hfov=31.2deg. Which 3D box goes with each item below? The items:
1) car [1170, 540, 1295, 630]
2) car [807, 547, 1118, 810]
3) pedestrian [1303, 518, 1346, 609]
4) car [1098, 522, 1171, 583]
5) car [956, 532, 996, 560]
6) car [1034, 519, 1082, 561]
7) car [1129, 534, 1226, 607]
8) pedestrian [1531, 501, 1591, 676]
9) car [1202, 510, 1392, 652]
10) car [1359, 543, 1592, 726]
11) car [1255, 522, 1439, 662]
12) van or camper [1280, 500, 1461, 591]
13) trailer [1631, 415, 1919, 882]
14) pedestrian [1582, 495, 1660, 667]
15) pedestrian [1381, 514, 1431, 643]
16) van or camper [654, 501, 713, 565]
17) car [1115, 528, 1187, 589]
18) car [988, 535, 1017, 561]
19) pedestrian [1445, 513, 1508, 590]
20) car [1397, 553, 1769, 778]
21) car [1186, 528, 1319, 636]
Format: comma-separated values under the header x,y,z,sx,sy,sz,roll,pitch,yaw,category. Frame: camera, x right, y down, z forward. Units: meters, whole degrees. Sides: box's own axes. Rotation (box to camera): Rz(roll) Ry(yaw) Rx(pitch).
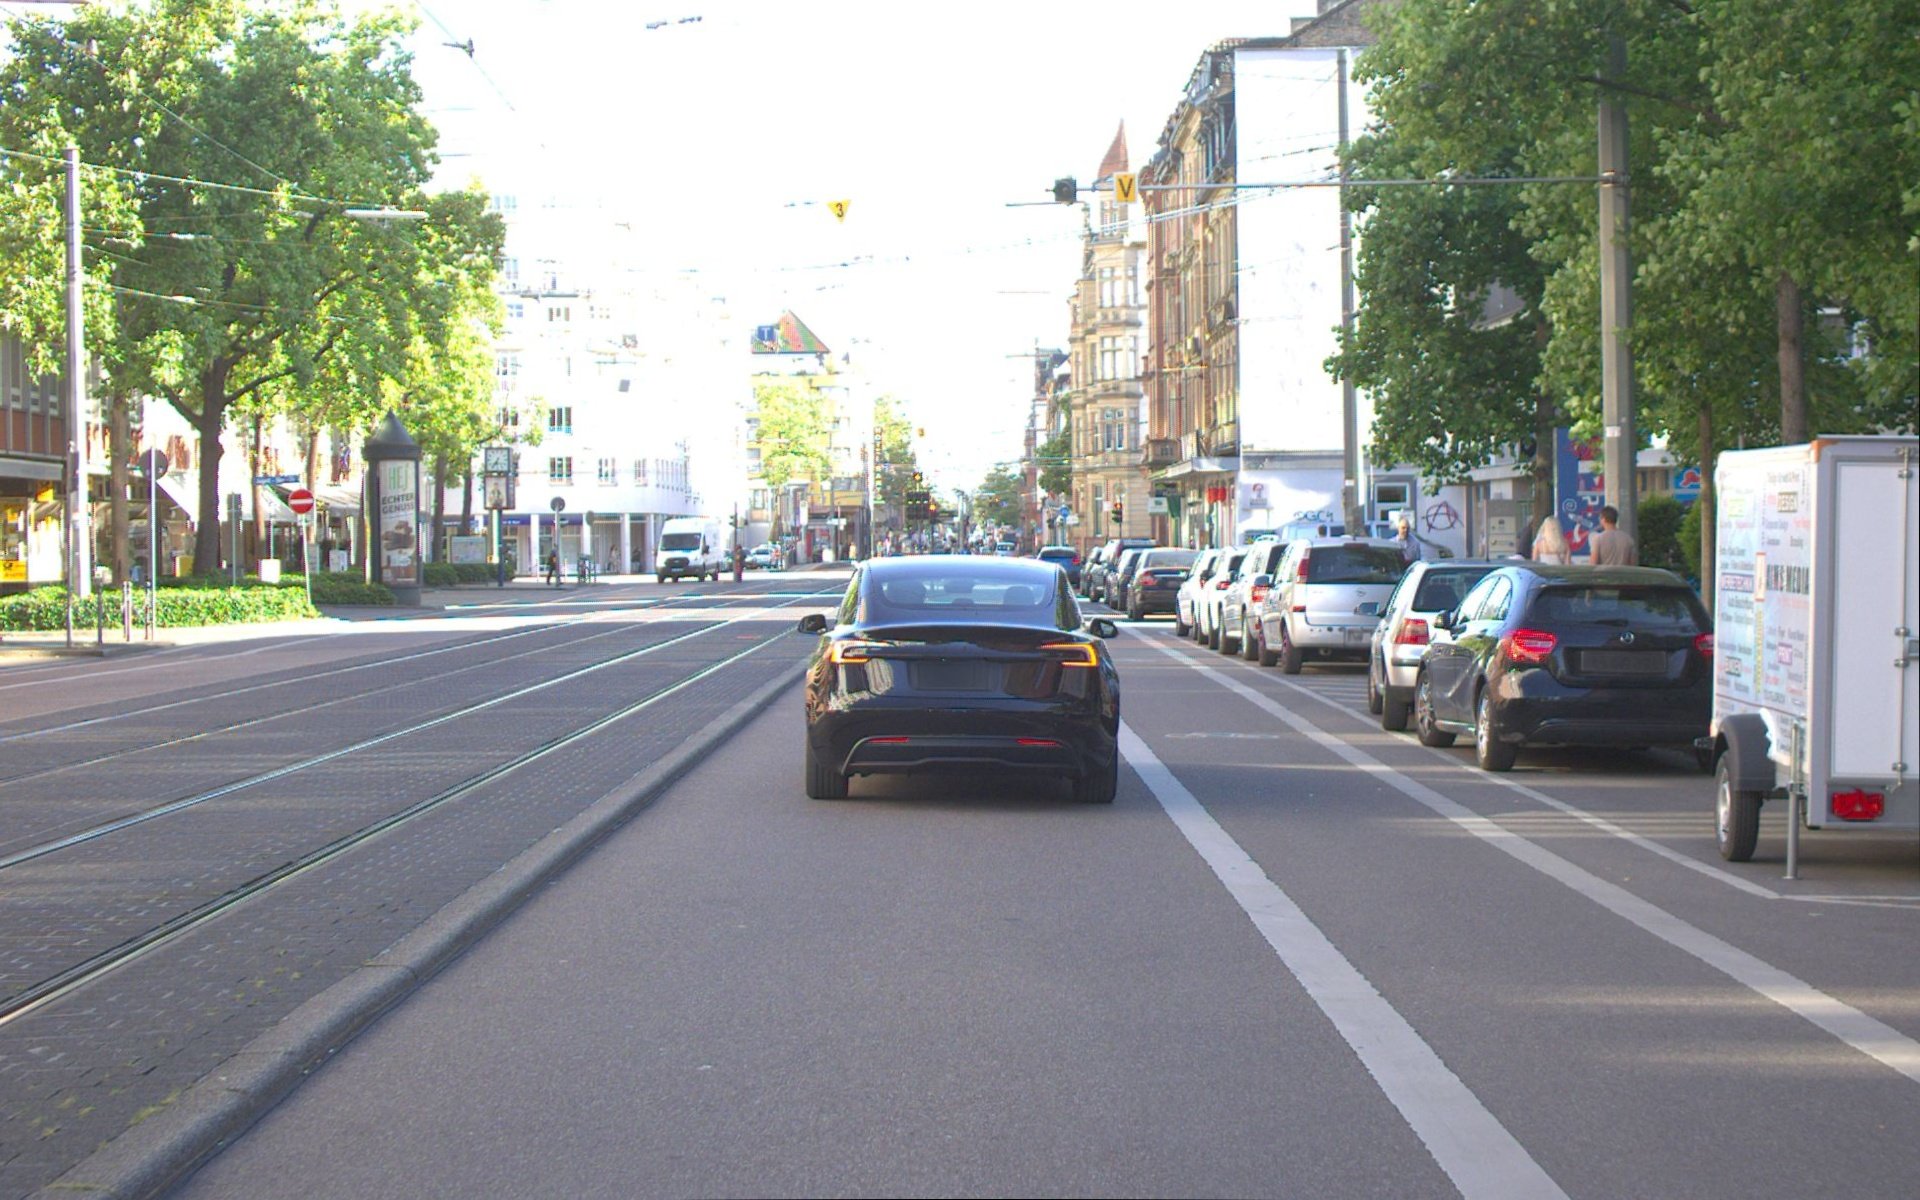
x,y,z,sx,sy,sz,roll,pitch,yaw,category
4.549,-0.280,57.791,1.601,1.438,3.885,1,1,-2,car
-0.014,0.411,20.976,1.719,1.400,3.710,0,2,-1,car
7.287,-0.735,68.803,0.721,1.806,0.889,-1,1,0,pedestrian
4.708,-1.275,92.962,1.829,1.622,4.095,0,0,1,car
0.896,-3.079,195.710,1.993,1.520,4.001,-1,1,-4,car
3.445,-2.129,121.413,1.593,1.428,3.686,-1,1,1,car
4.474,-0.629,71.149,1.711,1.452,4.551,0,1,0,car
6.864,-0.141,39.289,0.465,1.947,0.747,-4,1,5,pedestrian
4.539,-0.312,46.957,1.925,1.828,4.713,0,2,-2,car
4.445,0.245,30.137,1.750,1.438,4.314,0,2,5,car
4.680,-0.138,42.065,1.713,1.585,4.066,0,2,-1,car
11.048,-1.480,92.817,4.644,2.129,1.987,-4,1,4,van or camper
4.593,0.185,17.508,1.661,2.109,3.842,1,1,2,trailer
7.528,-0.224,39.196,0.669,1.891,0.747,-4,1,6,pedestrian
6.293,-0.308,48.554,0.611,1.802,0.602,-2,1,5,pedestrian
-11.844,-2.874,147.546,2.139,2.645,6.881,-2,1,-2,van or camper
4.582,-1.000,82.802,1.461,1.427,3.814,0,0,-1,car
2.764,-3.383,223.015,1.846,1.587,4.000,-2,1,1,car
11.889,-1.125,79.139,1.155,1.722,1.042,-1,2,25,pedestrian
4.431,0.409,25.088,1.802,1.430,4.324,1,1,-1,car
4.426,-0.306,52.571,1.541,1.564,4.444,0,1,-1,car
